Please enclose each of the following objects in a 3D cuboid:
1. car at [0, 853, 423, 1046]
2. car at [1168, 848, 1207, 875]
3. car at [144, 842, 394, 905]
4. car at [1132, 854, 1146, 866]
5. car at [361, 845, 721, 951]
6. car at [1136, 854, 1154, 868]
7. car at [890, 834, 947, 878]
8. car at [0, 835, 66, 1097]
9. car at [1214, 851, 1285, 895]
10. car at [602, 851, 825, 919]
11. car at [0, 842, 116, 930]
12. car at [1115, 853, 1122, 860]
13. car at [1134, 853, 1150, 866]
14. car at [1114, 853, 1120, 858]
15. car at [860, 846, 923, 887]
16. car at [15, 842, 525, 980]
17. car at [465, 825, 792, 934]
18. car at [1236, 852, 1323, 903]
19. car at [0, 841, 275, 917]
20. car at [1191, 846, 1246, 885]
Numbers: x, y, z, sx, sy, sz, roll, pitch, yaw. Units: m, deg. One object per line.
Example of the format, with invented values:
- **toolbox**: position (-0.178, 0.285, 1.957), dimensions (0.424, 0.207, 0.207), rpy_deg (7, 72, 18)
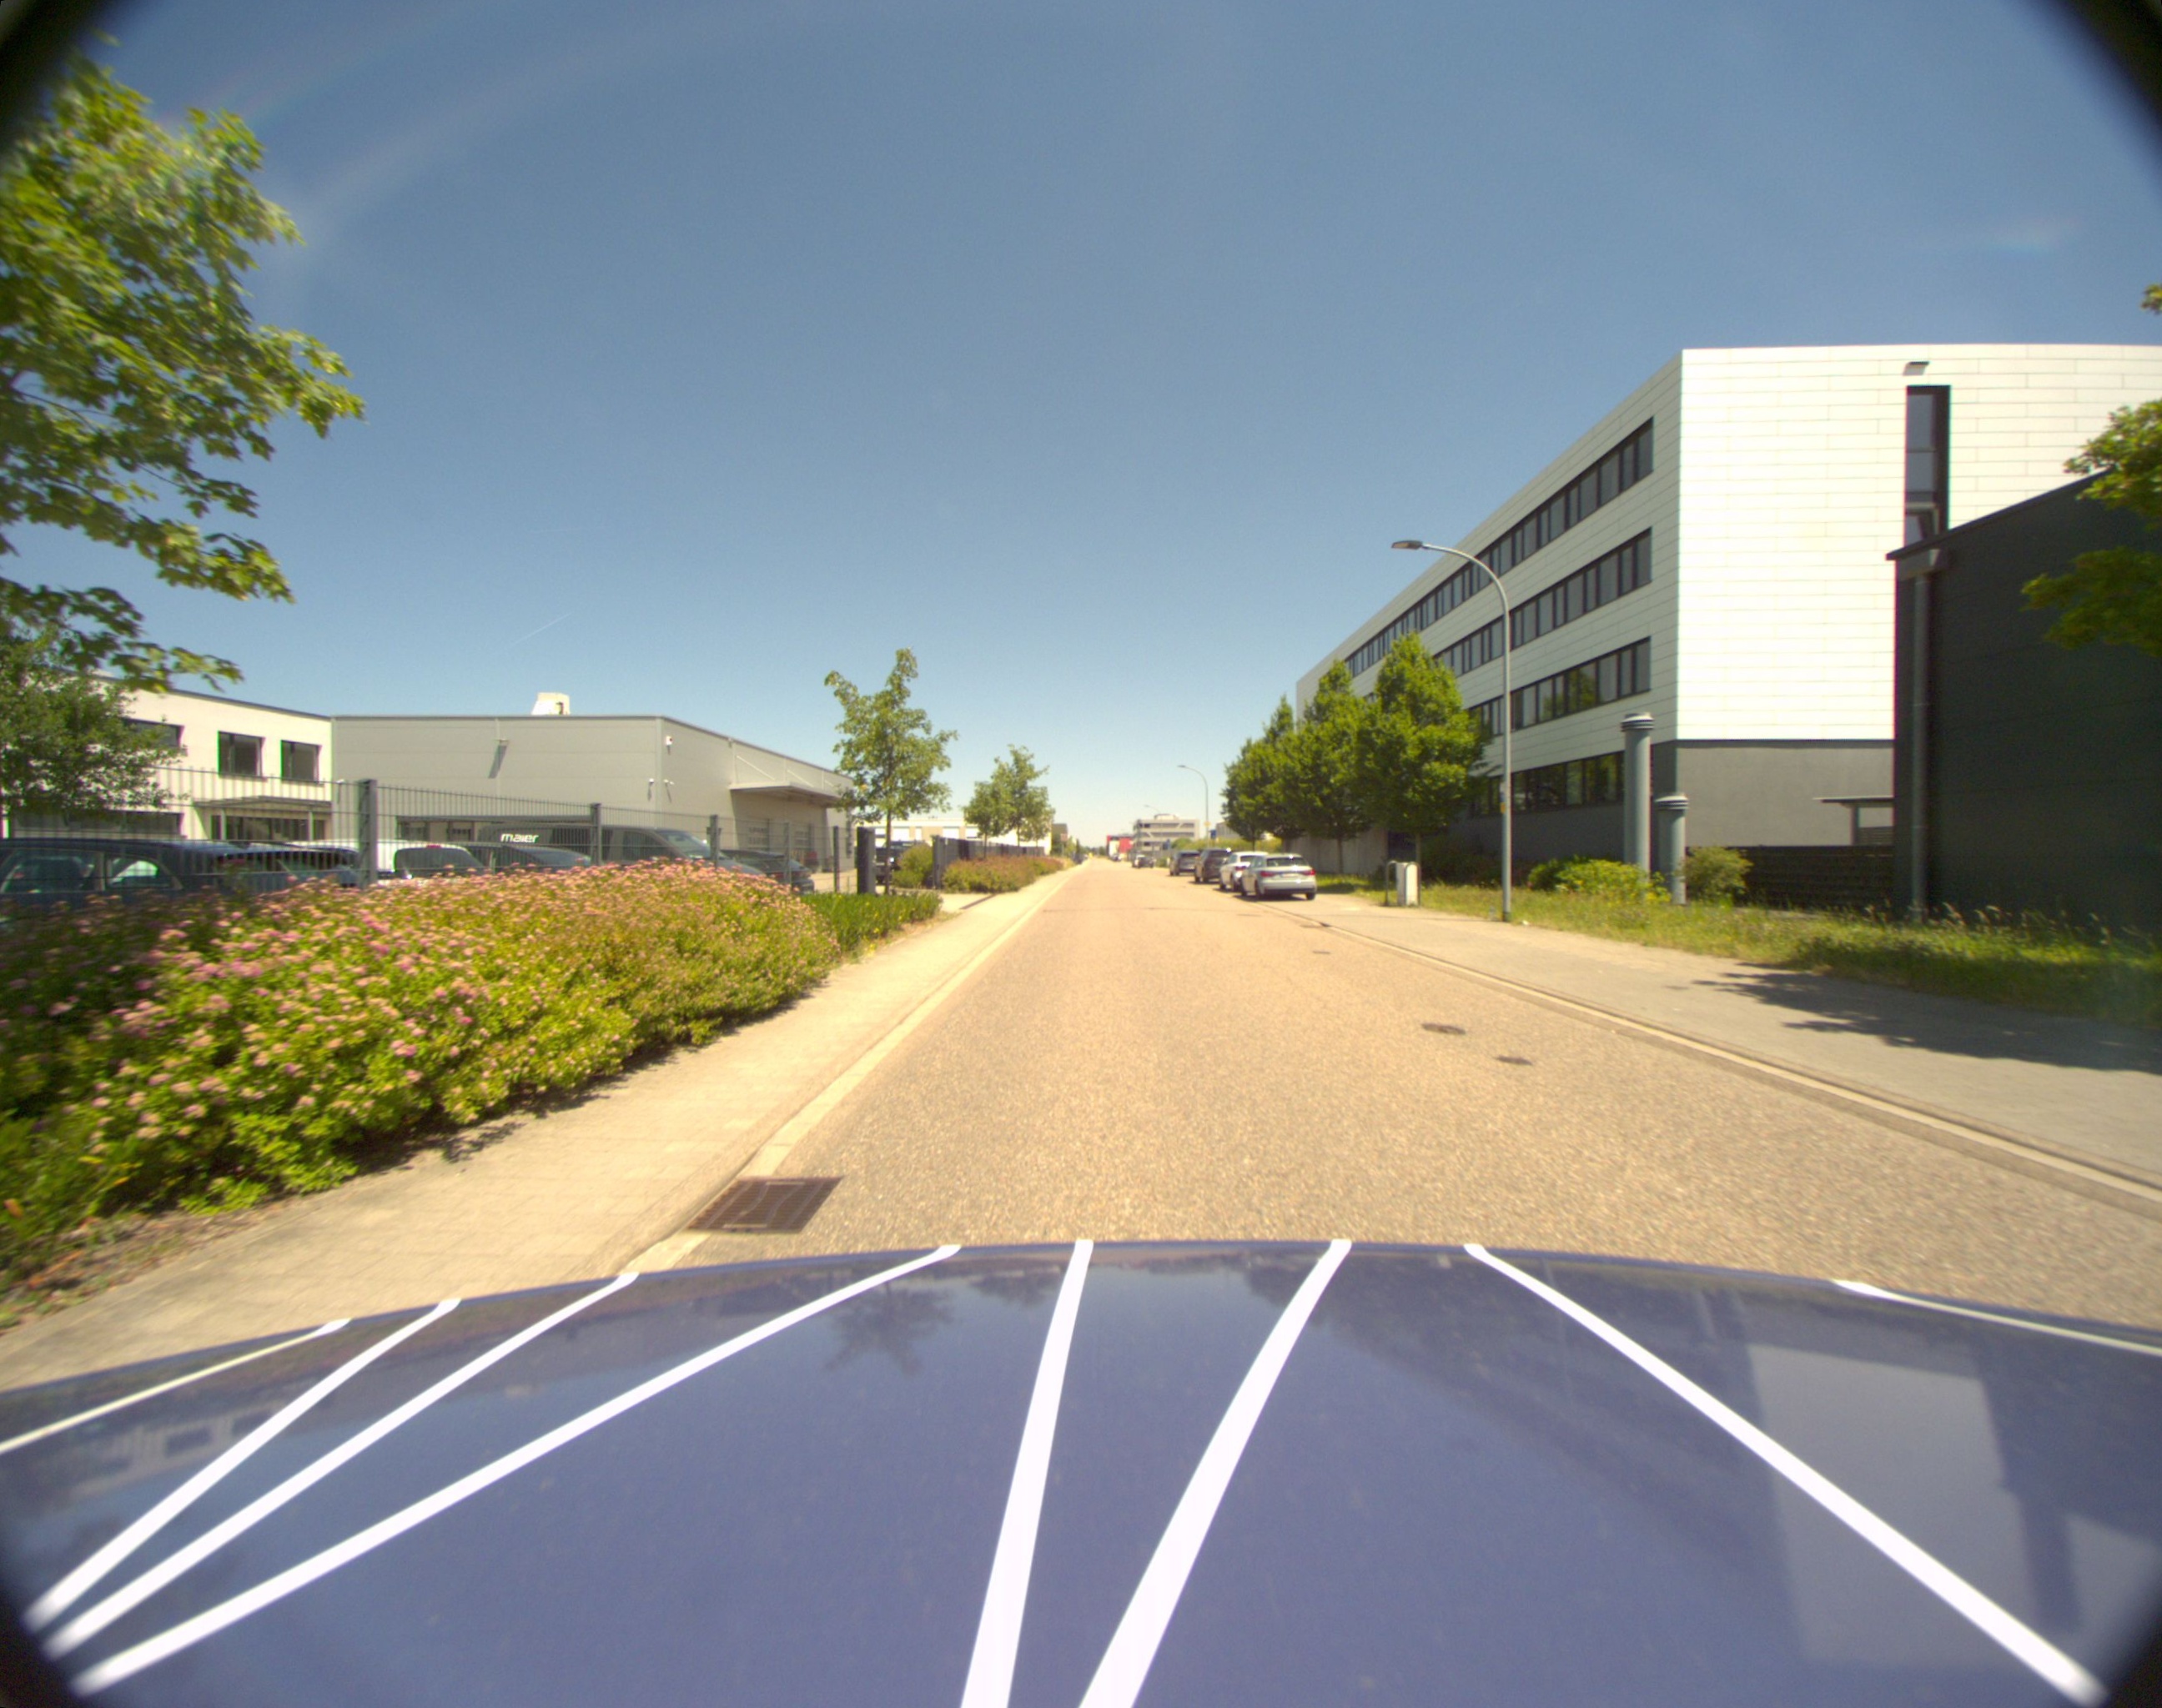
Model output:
- **car**: position (-8.183, 0.714, 6.498), dimensions (3.674, 1.414, 1.644), rpy_deg (0, 1, 0)
- **car**: position (6.787, 0.480, 48.654), dimensions (1.775, 1.578, 4.481), rpy_deg (-1, 0, -1)
- **car**: position (-19.132, 0.432, 18.043), dimensions (3.997, 1.395, 1.818), rpy_deg (1, 1, 0)
- **car**: position (7.971, 0.858, 104.027), dimensions (1.678, 1.521, 3.909), rpy_deg (-1, 1, 1)
- **car**: position (-8.077, 0.619, 11.622), dimensions (4.355, 1.441, 1.602), rpy_deg (1, 1, 0)
- **car**: position (7.436, 0.782, 88.309), dimensions (1.678, 1.442, 4.069), rpy_deg (-4, 0, 1)
- **car**: position (-8.125, 0.104, 38.369), dimensions (1.881, 2.074, 4.225), rpy_deg (1, 0, 1)
- **car**: position (-8.251, 0.642, 3.763), dimensions (3.997, 1.513, 1.822), rpy_deg (0, 1, 0)
- **car**: position (6.323, 0.653, 28.948), dimensions (1.775, 1.422, 4.201), rpy_deg (-4, 0, 1)
- **car**: position (-8.258, 0.667, 17.350), dimensions (4.226, 1.414, 1.764), rpy_deg (1, 1, 0)
- **car**: position (-19.189, 0.500, 12.772), dimensions (3.882, 1.395, 1.767), rpy_deg (1, 1, 4)
- **car**: position (9.916, 0.656, 199.148), dimensions (1.694, 1.481, 3.660), rpy_deg (-2, 1, 2)
- **car**: position (7.865, 0.695, 97.816), dimensions (1.678, 1.521, 3.757), rpy_deg (-4, 0, 1)
- **car**: position (11.100, 0.350, 234.730), dimensions (1.772, 1.521, 3.778), rpy_deg (-2, 1, 2)
- **car**: position (-7.868, 0.473, 31.880), dimensions (1.546, 1.547, 3.879), rpy_deg (2, 1, 1)
- **car**: position (-9.514, 0.619, 9.186), dimensions (4.290, 1.436, 1.755), rpy_deg (1, 1, 0)
- **car**: position (-8.503, 0.445, 14.603), dimensions (5.126, 1.863, 1.902), rpy_deg (1, 1, 0)
- **car**: position (6.173, 0.694, 24.087), dimensions (1.775, 1.422, 3.940), rpy_deg (-1, 1, 1)
- **car**: position (-19.176, 0.468, 15.422), dimensions (3.882, 1.395, 1.767), rpy_deg (1, 1, 4)
- **car**: position (6.436, 0.502, 36.007), dimensions (1.775, 1.614, 4.582), rpy_deg (-4, 0, 1)
